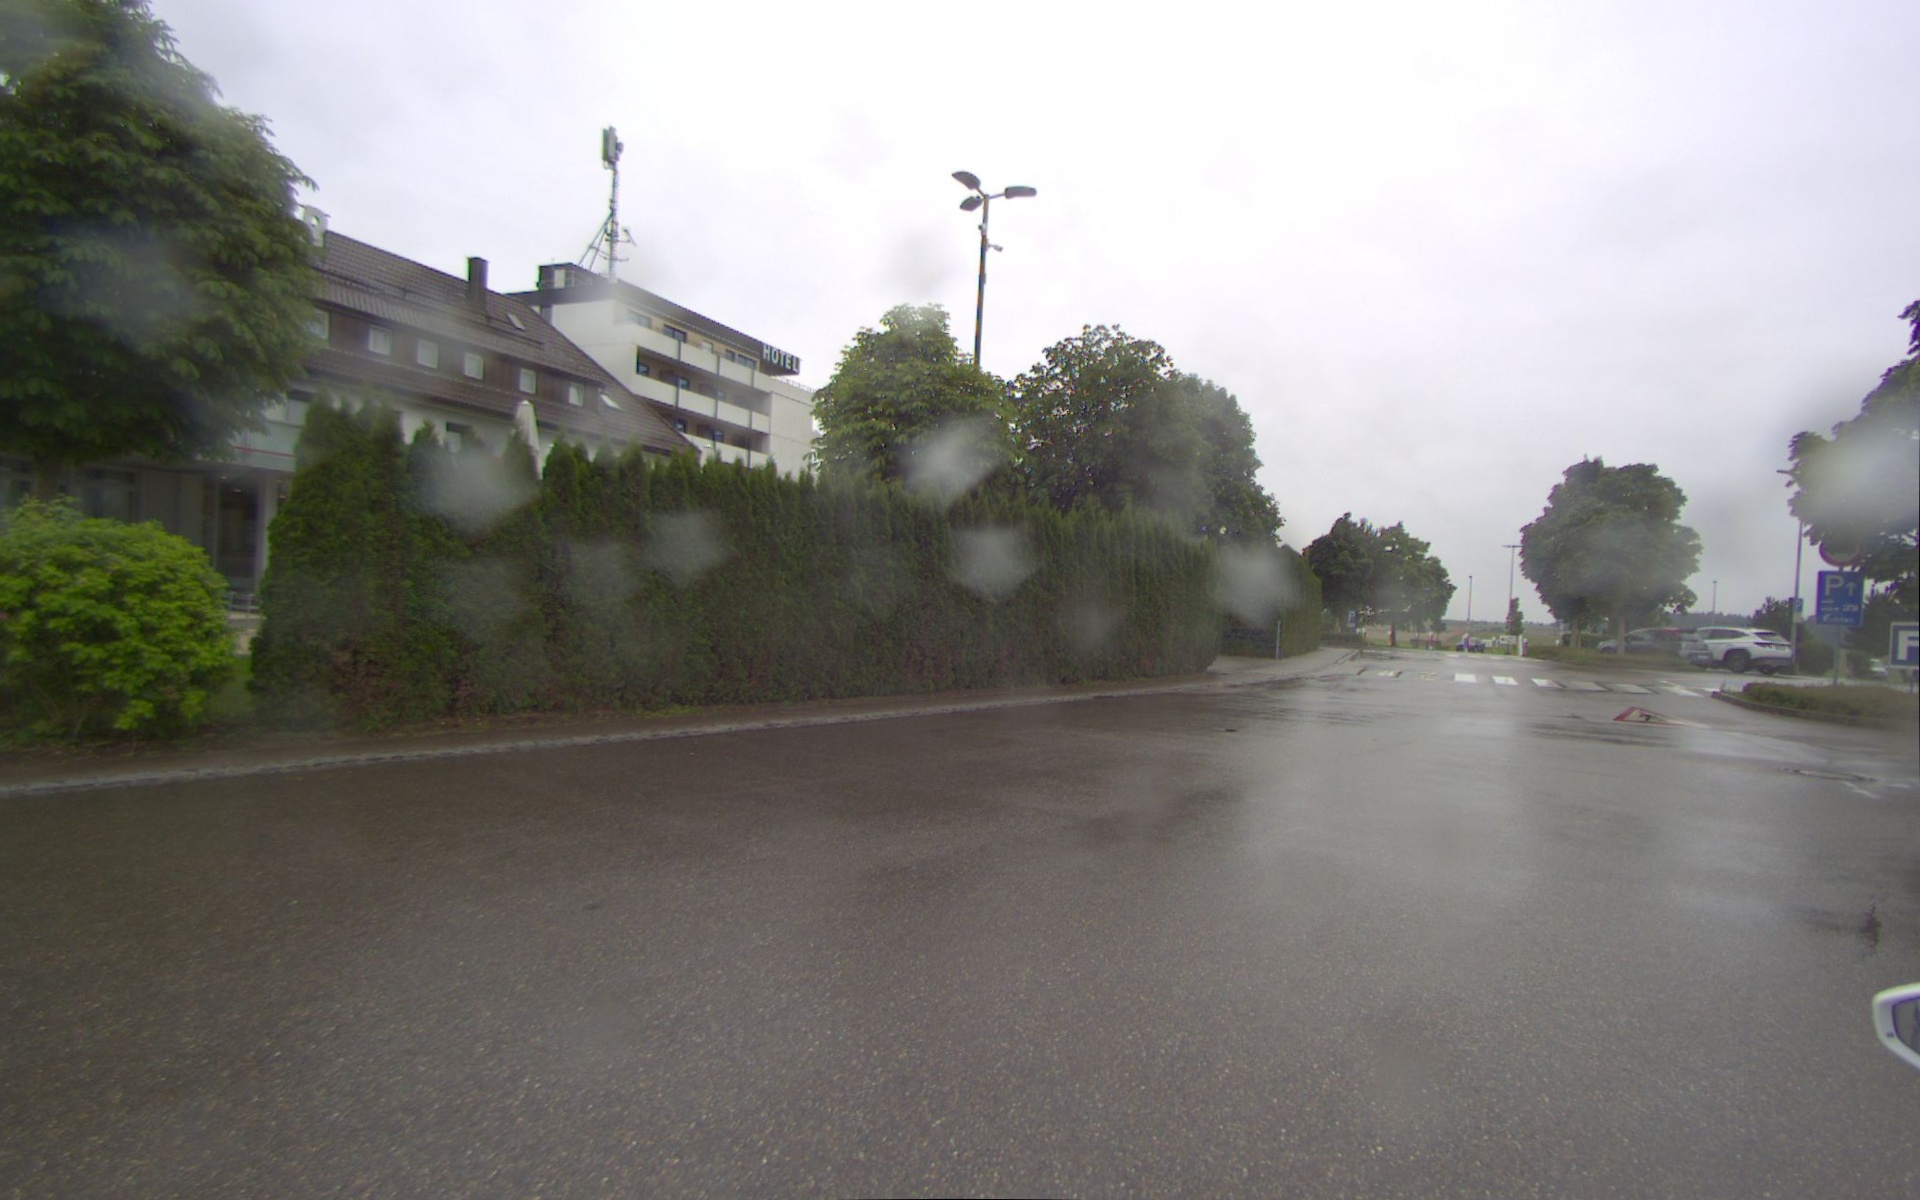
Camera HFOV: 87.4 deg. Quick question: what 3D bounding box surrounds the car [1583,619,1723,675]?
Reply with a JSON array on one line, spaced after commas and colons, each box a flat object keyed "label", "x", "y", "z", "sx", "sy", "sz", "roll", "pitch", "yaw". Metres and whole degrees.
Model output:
[{"label": "car", "x": 25.391, "y": 1.686, "z": 36.968, "sx": 1.694, "sy": 1.738, "sz": 4.010, "roll": 4, "pitch": -1, "yaw": -18}]

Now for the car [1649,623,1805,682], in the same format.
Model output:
[{"label": "car", "x": 28.364, "y": 1.900, "z": 37.331, "sx": 1.694, "sy": 1.886, "sz": 4.351, "roll": 4, "pitch": -1, "yaw": -18}]

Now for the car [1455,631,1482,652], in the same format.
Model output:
[{"label": "car", "x": 53.950, "y": 4.390, "z": 106.560, "sx": 1.682, "sy": 2.040, "sz": 3.985, "roll": 4, "pitch": 0, "yaw": 38}]
